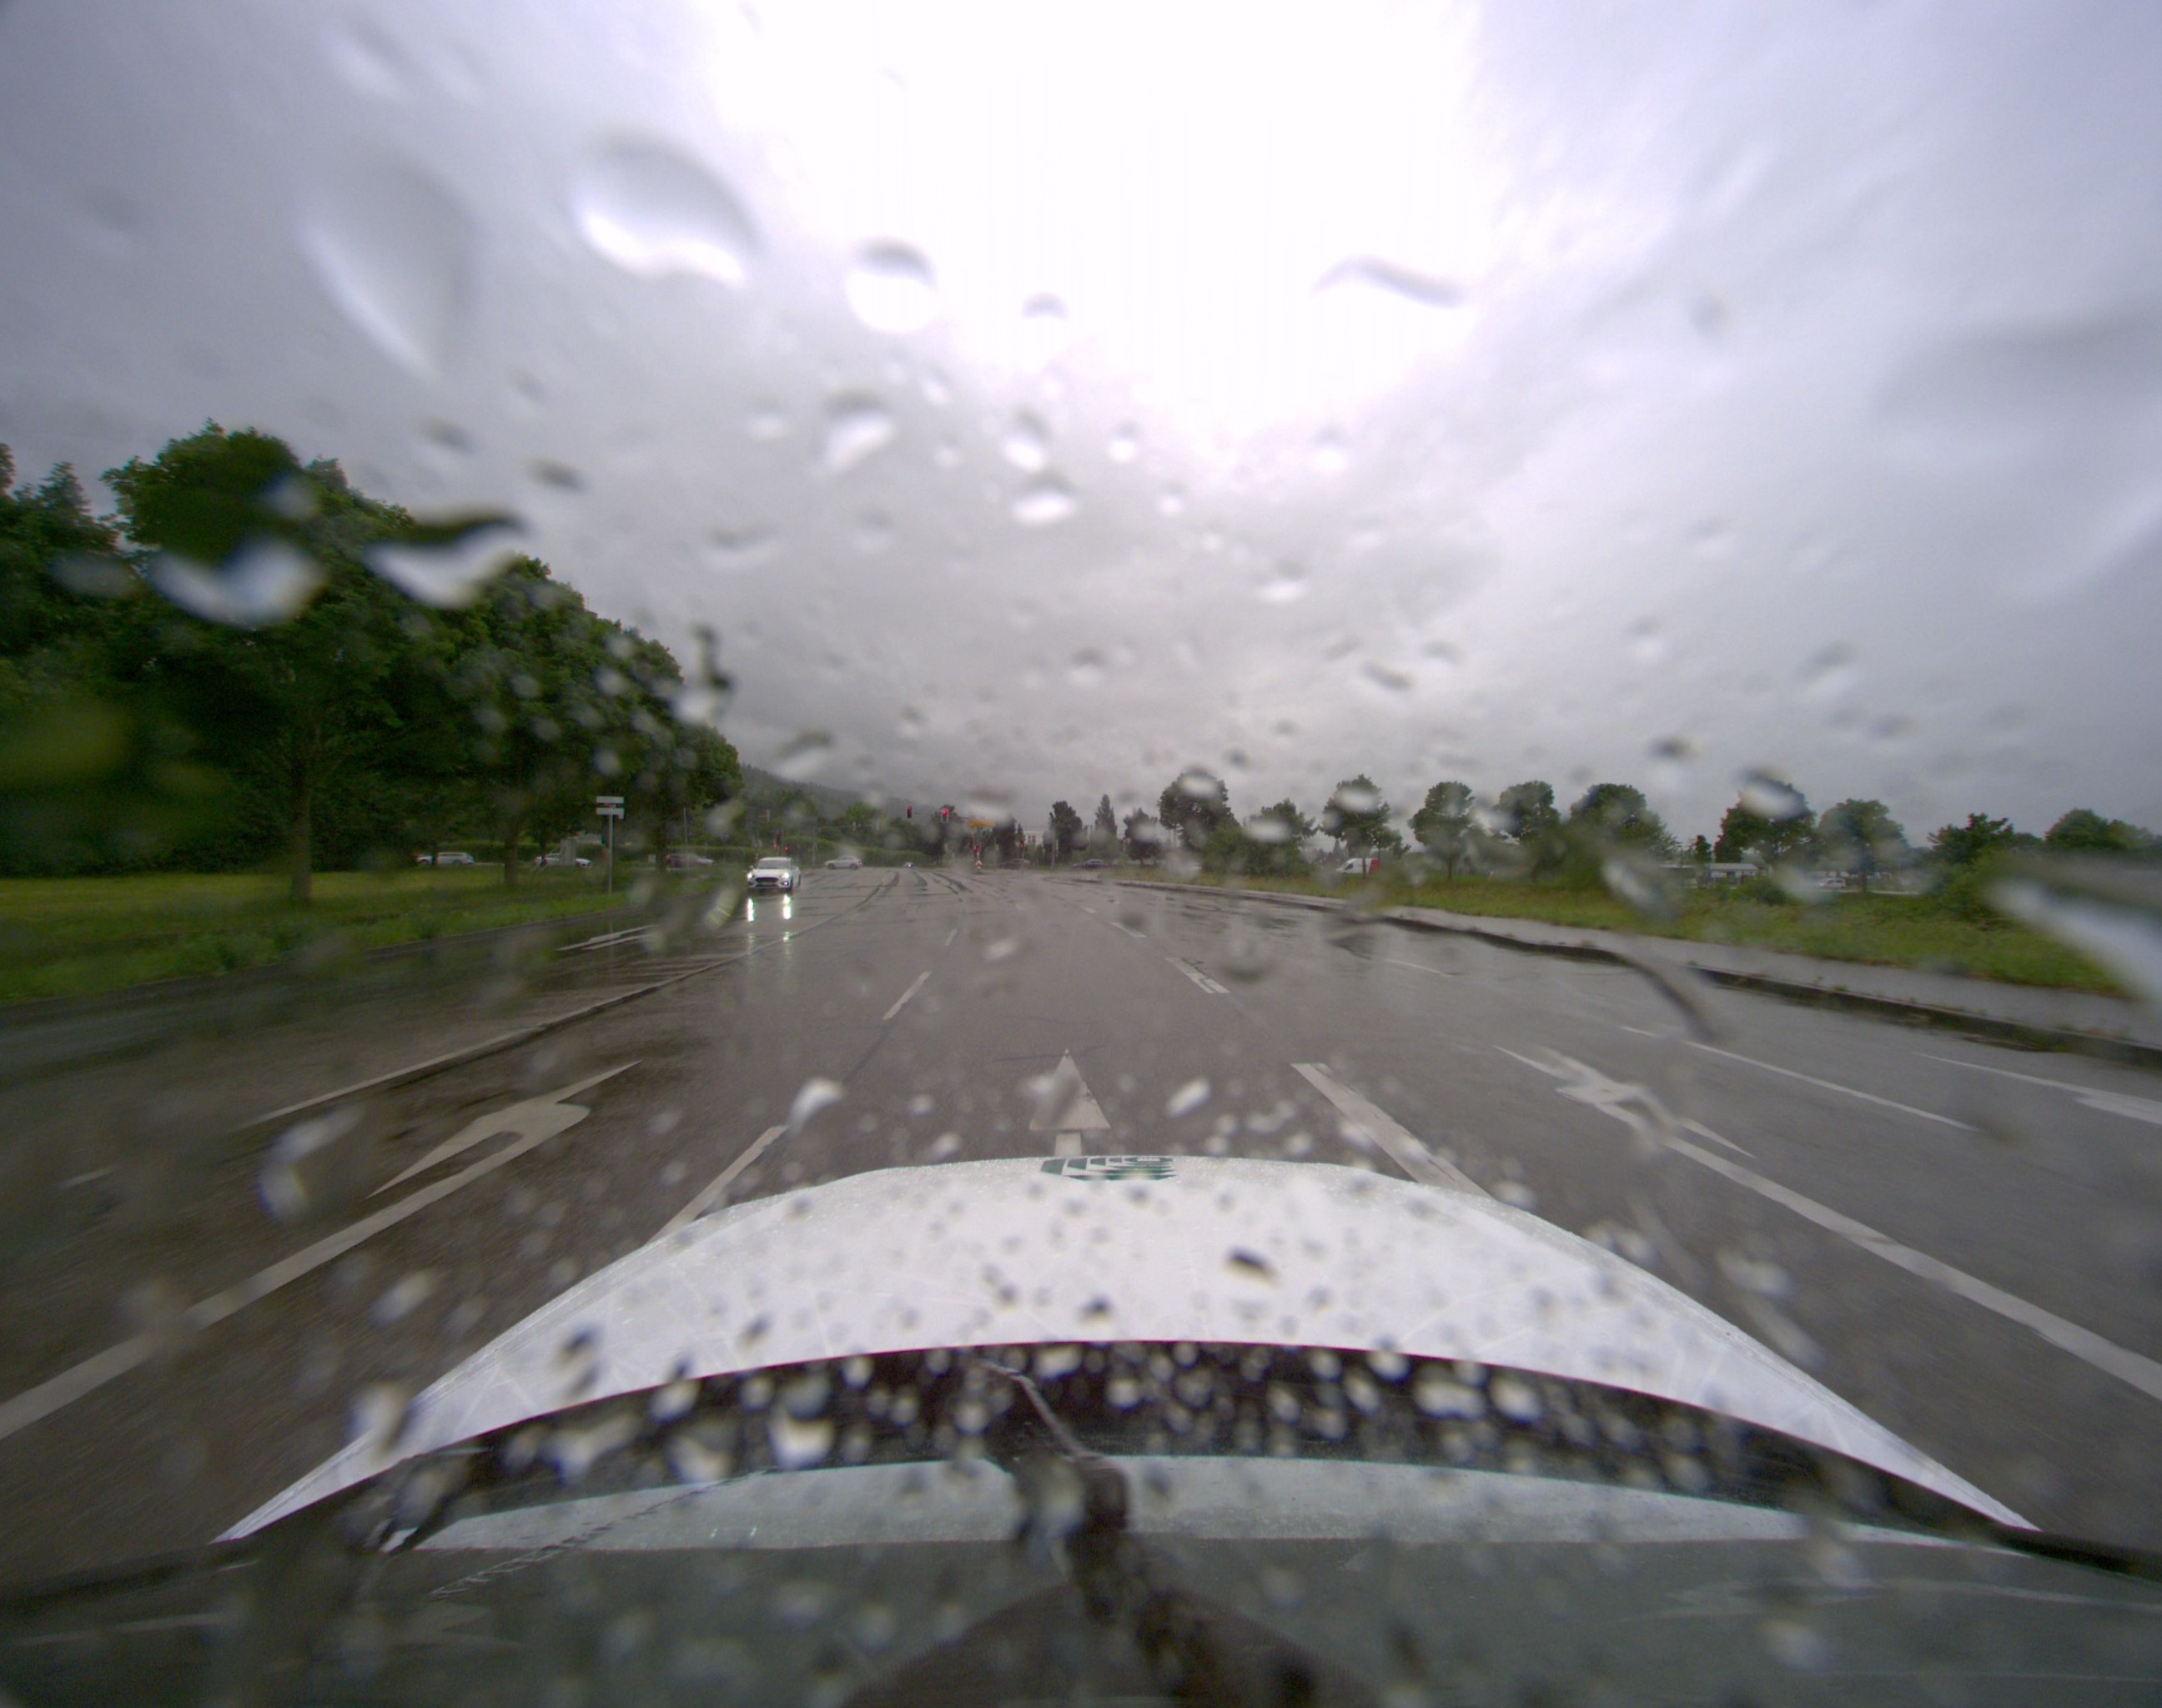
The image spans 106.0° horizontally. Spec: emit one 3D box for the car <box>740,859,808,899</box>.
[{"bbox_3d":[-13.522,1.048,36.141,1.878,1.573,4.630,-1,0,-9],"label":"car"}]

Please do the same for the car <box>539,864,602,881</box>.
[{"bbox_3d":[-49.427,1.788,78.955,4.875,1.553,1.796,0,0,-6],"label":"car"}]

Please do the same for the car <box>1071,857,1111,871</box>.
[{"bbox_3d":[1.239,1.258,101.313,4.669,1.639,1.816,0,0,-10],"label":"car"}]

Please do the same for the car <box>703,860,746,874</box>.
[{"bbox_3d":[-41.389,1.513,94.561,4.229,1.579,1.729,1,0,-6],"label":"car"}]

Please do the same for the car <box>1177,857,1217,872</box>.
[{"bbox_3d":[14.672,1.322,102.888,4.665,1.915,1.910,0,0,-8],"label":"car"}]

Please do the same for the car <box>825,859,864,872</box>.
[{"bbox_3d":[-28.288,1.385,97.440,4.378,1.579,1.726,1,0,-12],"label":"car"}]

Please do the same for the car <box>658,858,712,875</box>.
[{"bbox_3d":[-39.134,1.224,80.533,4.369,1.579,1.729,1,0,-6],"label":"car"}]
